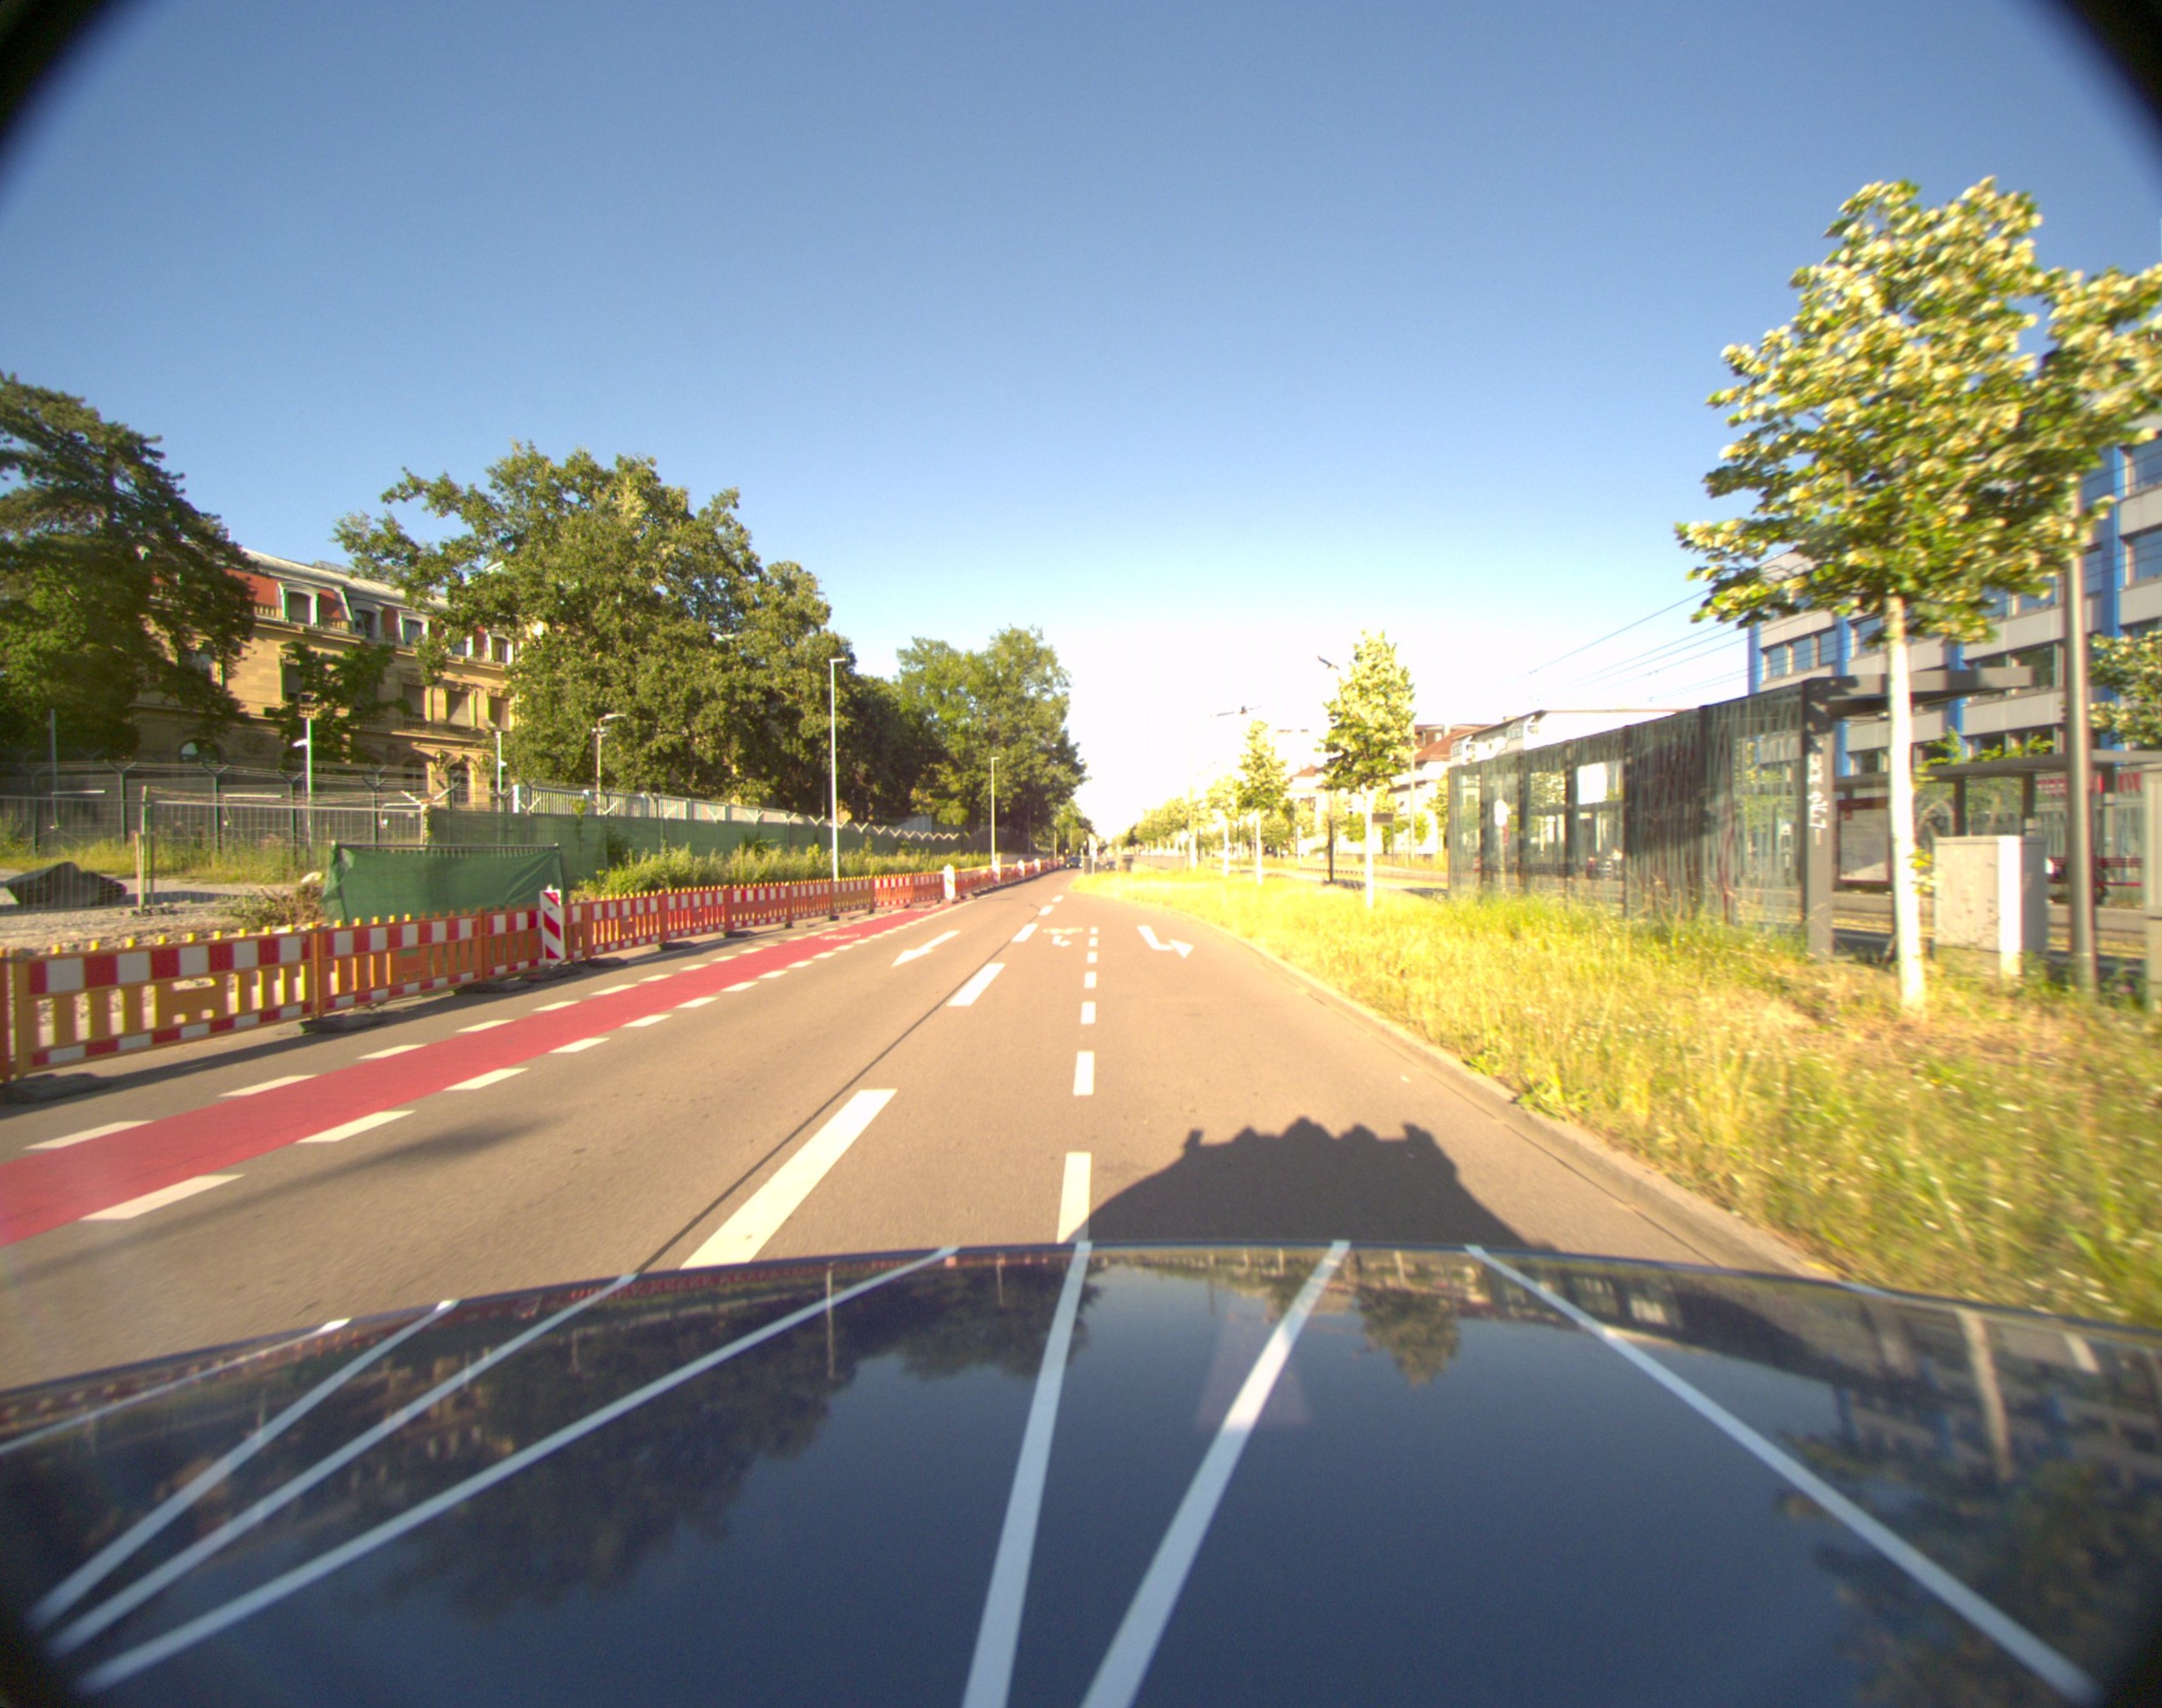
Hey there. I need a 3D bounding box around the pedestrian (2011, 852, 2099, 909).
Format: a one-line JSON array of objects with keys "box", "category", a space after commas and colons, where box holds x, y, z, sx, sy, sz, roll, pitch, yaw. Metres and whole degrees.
[{"box": [18.245, 0.488, 14.253, 0.628, 1.041, 0.794, 0, 1, 1], "category": "pedestrian"}]

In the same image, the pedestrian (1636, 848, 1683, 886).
[{"box": [18.687, 0.420, 24.555, 0.936, 1.190, 0.764, 0, 1, 1], "category": "pedestrian"}]

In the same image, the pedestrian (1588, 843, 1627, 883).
[{"box": [18.781, 0.331, 27.125, 0.840, 1.402, 0.804, 0, 1, 1], "category": "pedestrian"}]

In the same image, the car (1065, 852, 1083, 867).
[{"box": [-0.874, 0.639, 94.707, 2.080, 1.827, 4.000, 0, 1, 2], "category": "car"}]
